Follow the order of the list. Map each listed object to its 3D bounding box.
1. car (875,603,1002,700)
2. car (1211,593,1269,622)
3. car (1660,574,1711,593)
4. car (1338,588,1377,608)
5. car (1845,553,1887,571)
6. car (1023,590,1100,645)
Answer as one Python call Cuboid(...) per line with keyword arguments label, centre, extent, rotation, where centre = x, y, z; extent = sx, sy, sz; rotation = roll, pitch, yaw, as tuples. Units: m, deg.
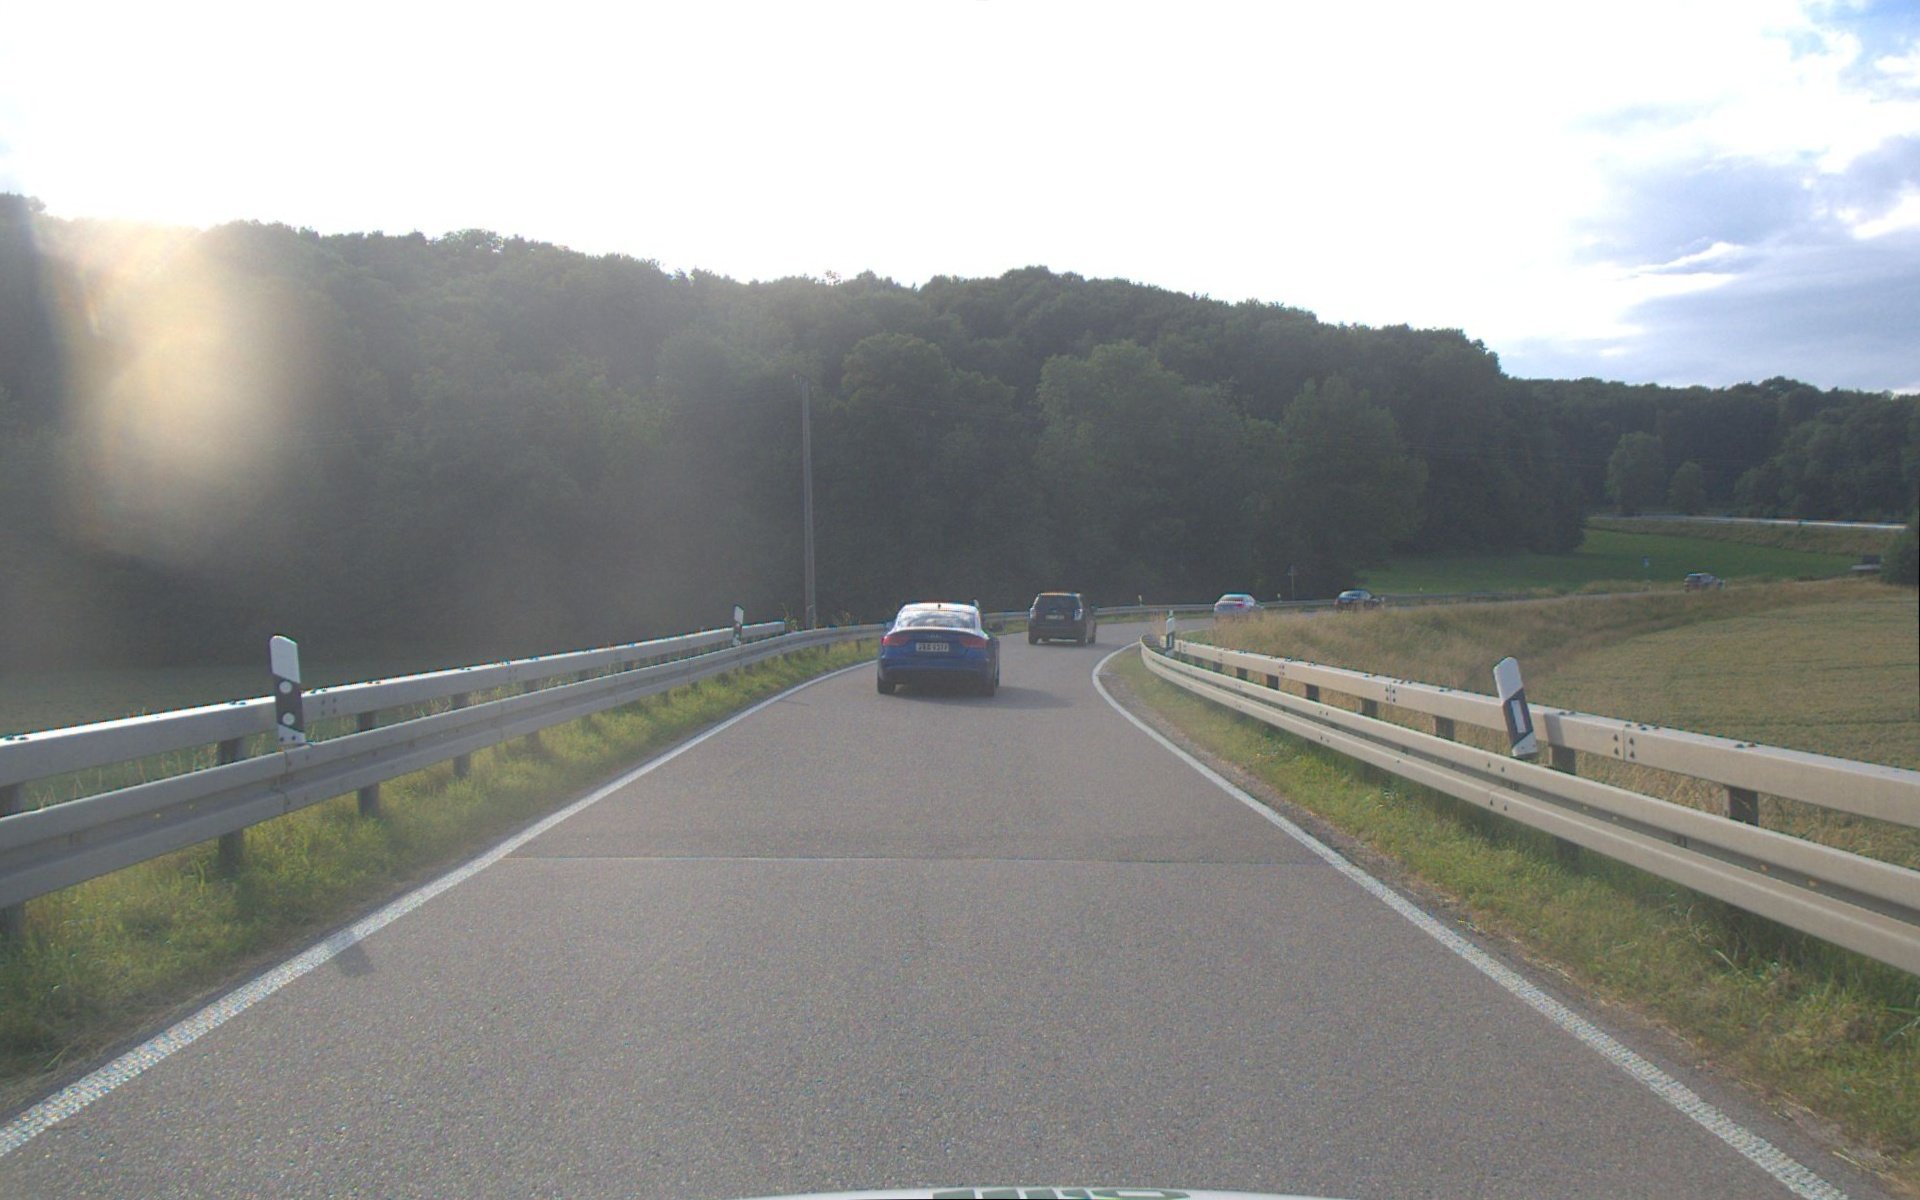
Cuboid(label="car", centre=(-0.256, 0.754, 26.232), extent=(1.780, 1.362, 4.351), rotation=(1, 0, 2))
Cuboid(label="car", centre=(14.633, 0.393, 86.327), extent=(1.651, 1.400, 3.992), rotation=(-1, 0, 31))
Cuboid(label="car", centre=(65.261, -1.499, 148.849), extent=(4.109, 1.708, 1.986), rotation=(-1, 2, -24))
Cuboid(label="car", centre=(25.481, -0.132, 105.966), extent=(1.444, 1.248, 3.291), rotation=(-1, -1, 32))
Cuboid(label="car", centre=(93.050, -3.930, 169.881), extent=(3.941, 1.802, 1.982), rotation=(-1, 2, -28))
Cuboid(label="car", centre=(3.240, 0.534, 52.147), extent=(1.822, 1.596, 4.003), rotation=(2, 0, 12))
